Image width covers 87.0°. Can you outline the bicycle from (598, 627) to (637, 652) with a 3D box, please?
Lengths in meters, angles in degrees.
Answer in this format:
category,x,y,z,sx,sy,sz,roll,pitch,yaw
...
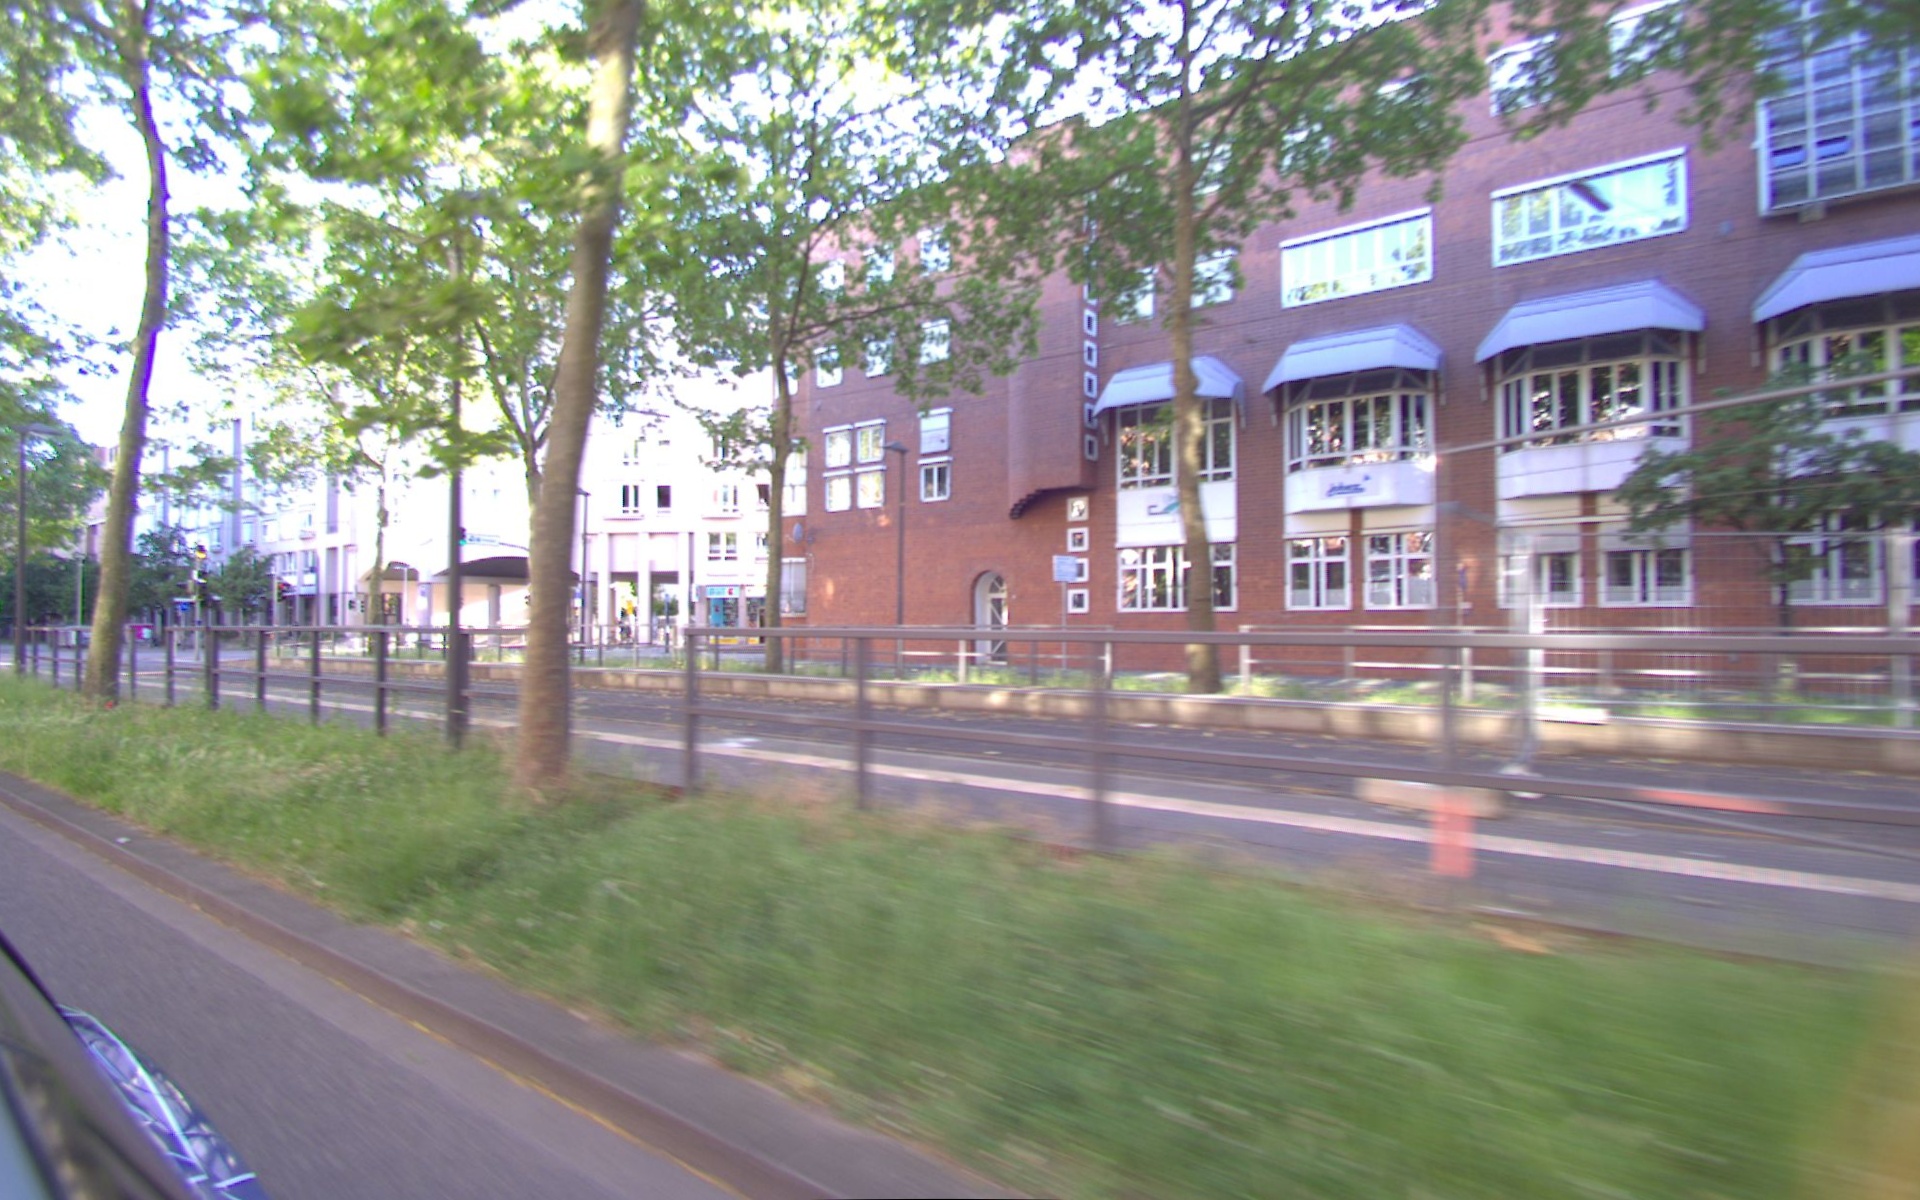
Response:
category,x,y,z,sx,sy,sz,roll,pitch,yaw
bicycle,-18.340,2.096,54.155,1.797,1.271,0.772,-1,0,7

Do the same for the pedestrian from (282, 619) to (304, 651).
category,x,y,z,sx,sy,sz,roll,pitch,yaw
pedestrian,-42.354,2.218,64.282,0.876,2.029,0.992,-1,0,44

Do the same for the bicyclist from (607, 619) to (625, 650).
category,x,y,z,sx,sy,sz,roll,pitch,yaw
bicyclist,-18.399,1.844,54.157,0.660,1.661,0.717,-1,0,7

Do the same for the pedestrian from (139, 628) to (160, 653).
category,x,y,z,sx,sy,sz,roll,pitch,yaw
pedestrian,-55.247,2.753,69.016,0.876,1.613,0.993,-1,0,43
